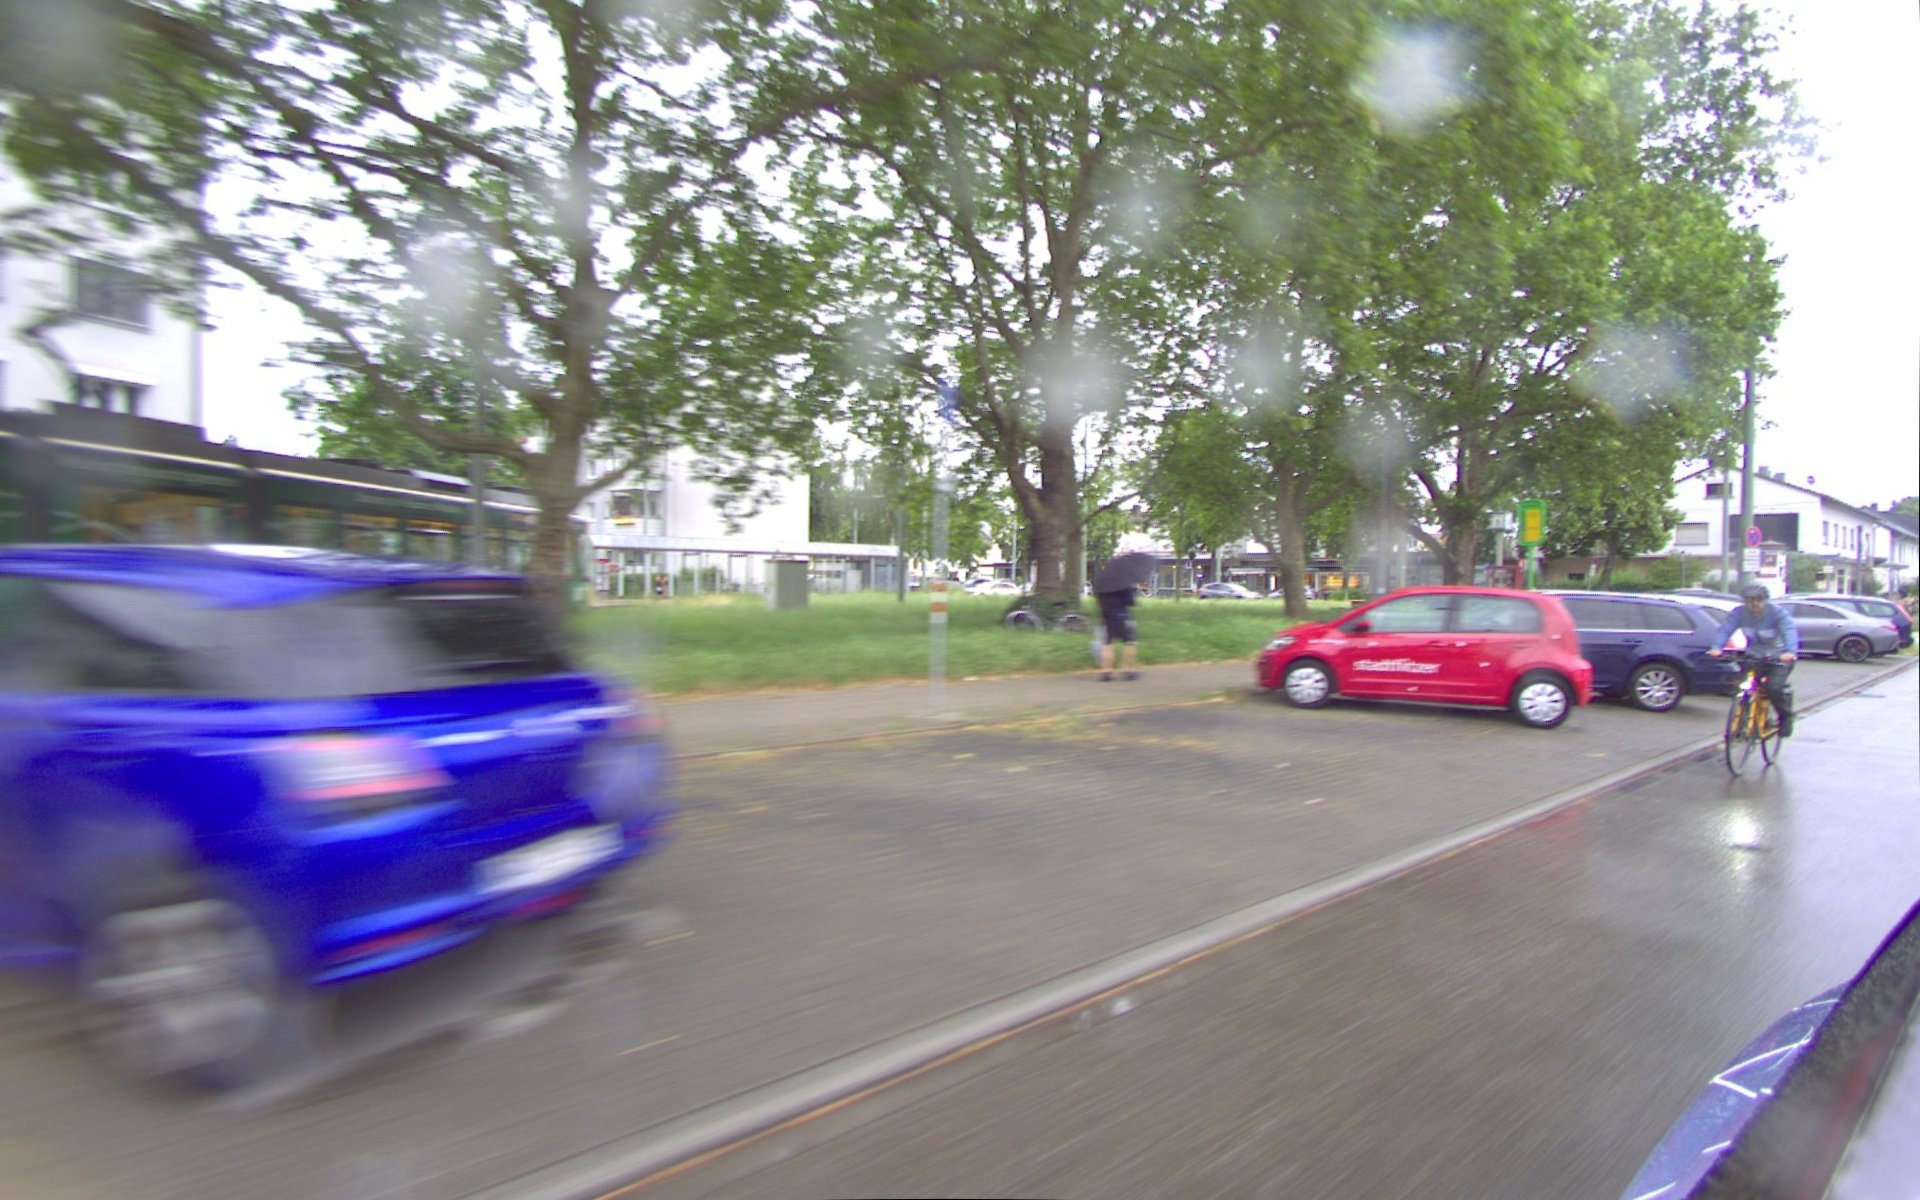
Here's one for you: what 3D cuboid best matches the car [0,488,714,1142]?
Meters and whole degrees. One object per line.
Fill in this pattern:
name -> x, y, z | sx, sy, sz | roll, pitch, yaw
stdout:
car -> -3.211, 0.431, 3.880 | 3.946, 1.502, 1.989 | 2, 0, 18

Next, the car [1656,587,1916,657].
car -> 19.799, 0.473, 24.512 | 4.492, 1.494, 1.793 | 1, 1, 20

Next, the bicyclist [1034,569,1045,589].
bicyclist -> 5.971, -1.584, 76.089 | 0.713, 1.535, 0.697 | 0, 0, 10

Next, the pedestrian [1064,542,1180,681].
pedestrian -> 2.134, 0.118, 13.384 | 1.061, 1.735, 1.046 | 0, 2, -41

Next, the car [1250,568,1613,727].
car -> 5.355, 0.454, 11.880 | 3.558, 1.498, 1.625 | 3, 2, 23

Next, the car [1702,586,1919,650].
car -> 22.117, 0.431, 26.330 | 4.123, 1.494, 1.793 | 1, 1, 19

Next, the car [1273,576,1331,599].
car -> 23.852, -0.918, 70.511 | 3.596, 1.522, 1.535 | 1, 3, 33

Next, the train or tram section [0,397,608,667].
train or tram section -> -11.847, -1.079, 21.129 | 2.667, 3.634, 14.720 | 0, 1, 5

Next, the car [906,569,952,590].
car -> -3.065, -2.090, 100.909 | 4.471, 1.967, 1.896 | -2, 2, -42

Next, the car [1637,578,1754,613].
car -> 38.383, -0.286, 52.894 | 1.963, 1.625, 4.573 | -2, 3, -36

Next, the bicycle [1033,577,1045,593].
bicycle -> 5.961, -1.141, 76.053 | 0.717, 1.144, 1.749 | 0, 1, 10

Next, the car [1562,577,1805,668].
car -> 14.376, 0.397, 20.326 | 3.464, 1.524, 1.748 | 3, 3, 13

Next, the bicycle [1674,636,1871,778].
bicycle -> 7.147, 0.885, 8.875 | 1.889, 1.086, 0.756 | 1, 0, -32

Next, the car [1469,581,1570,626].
car -> 27.705, 0.130, 50.201 | 1.965, 2.038, 3.996 | -3, 3, -40

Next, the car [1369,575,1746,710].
car -> 7.972, 0.485, 13.975 | 4.067, 1.498, 1.857 | 3, 2, 17

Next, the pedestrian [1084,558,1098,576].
pedestrian -> 12.977, -3.231, 100.238 | 1.058, 1.735, 0.949 | 0, 2, -29

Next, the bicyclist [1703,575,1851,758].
bicyclist -> 7.166, 0.548, 8.881 | 0.829, 1.504, 0.754 | 2, 0, -32

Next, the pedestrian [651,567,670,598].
pedestrian -> -15.600, -0.932, 52.704 | 0.625, 1.592, 0.788 | -2, 3, -41

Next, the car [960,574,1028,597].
car -> 2.501, -1.007, 72.904 | 4.755, 1.476, 1.998 | 2, 0, -40

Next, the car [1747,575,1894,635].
car -> 34.079, 0.135, 40.240 | 1.958, 2.037, 4.010 | -3, 4, -18

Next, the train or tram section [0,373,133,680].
train or tram section -> -13.168, -0.727, 6.460 | 2.667, 3.634, 14.720 | 0, 1, 5

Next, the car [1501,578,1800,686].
car -> 12.303, 0.520, 18.295 | 3.935, 1.518, 1.821 | 4, 3, 9

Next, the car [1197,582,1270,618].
car -> 16.981, -0.064, 62.914 | 1.965, 2.038, 3.996 | -3, 3, -40

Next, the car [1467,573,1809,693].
car -> 10.482, 0.445, 15.992 | 3.935, 1.572, 1.956 | 2, 3, 10

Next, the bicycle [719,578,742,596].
bicycle -> -12.422, -0.723, 54.735 | 1.299, 0.959, 0.412 | 1, 3, 35
